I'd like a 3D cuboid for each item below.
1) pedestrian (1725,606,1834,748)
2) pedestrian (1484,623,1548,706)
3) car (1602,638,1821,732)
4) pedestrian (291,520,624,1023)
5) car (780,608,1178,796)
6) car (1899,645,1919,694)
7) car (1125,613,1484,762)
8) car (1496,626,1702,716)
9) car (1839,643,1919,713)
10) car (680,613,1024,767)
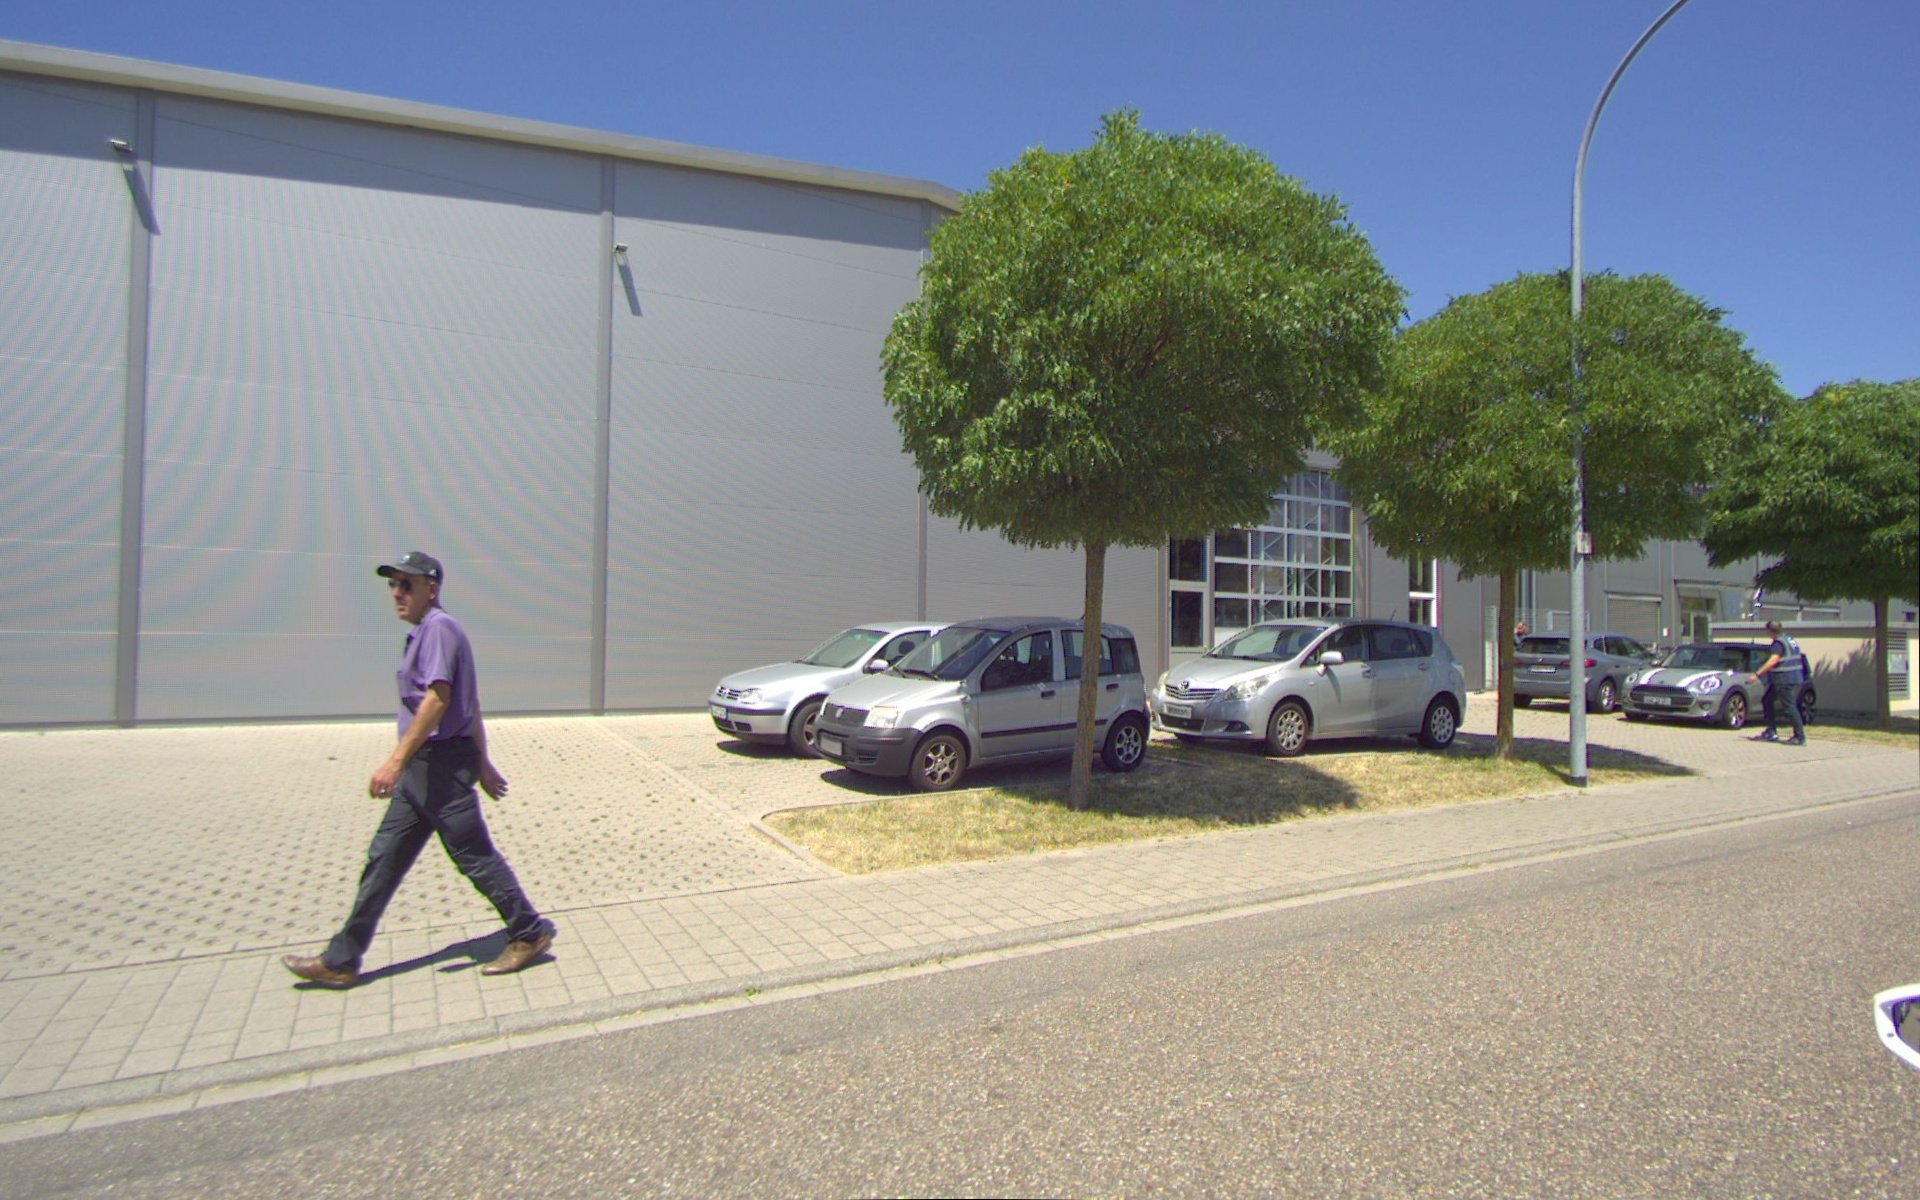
[{"bbox_3d":[12.038,1.109,14.788,0.945,1.998,0.843,1,-1,10],"label":"pedestrian"},{"bbox_3d":[11.983,1.375,21.656,0.953,1.736,0.836,2,-1,-30],"label":"pedestrian"},{"bbox_3d":[13.501,1.461,18.013,3.793,1.472,1.758,2,-1,-29],"label":"car"},{"bbox_3d":[-2.086,0.637,4.246,1.120,1.825,0.741,2,0,-28],"label":"pedestrian"},{"bbox_3d":[0.262,0.897,9.923,3.667,1.520,1.672,2,-2,-35],"label":"car"},{"bbox_3d":[31.147,2.177,31.163,4.041,1.460,1.916,2,0,-32],"label":"car"},{"bbox_3d":[4.409,1.012,12.664,4.485,1.594,1.758,2,-1,-30],"label":"car"},{"bbox_3d":[13.078,1.404,20.508,4.295,1.649,1.728,2,-1,-29],"label":"car"},{"bbox_3d":[22.314,1.762,23.112,4.658,1.472,1.757,2,-2,-30],"label":"car"},{"bbox_3d":[-1.203,0.965,11.794,3.667,1.520,1.672,2,-1,-35],"label":"car"}]
